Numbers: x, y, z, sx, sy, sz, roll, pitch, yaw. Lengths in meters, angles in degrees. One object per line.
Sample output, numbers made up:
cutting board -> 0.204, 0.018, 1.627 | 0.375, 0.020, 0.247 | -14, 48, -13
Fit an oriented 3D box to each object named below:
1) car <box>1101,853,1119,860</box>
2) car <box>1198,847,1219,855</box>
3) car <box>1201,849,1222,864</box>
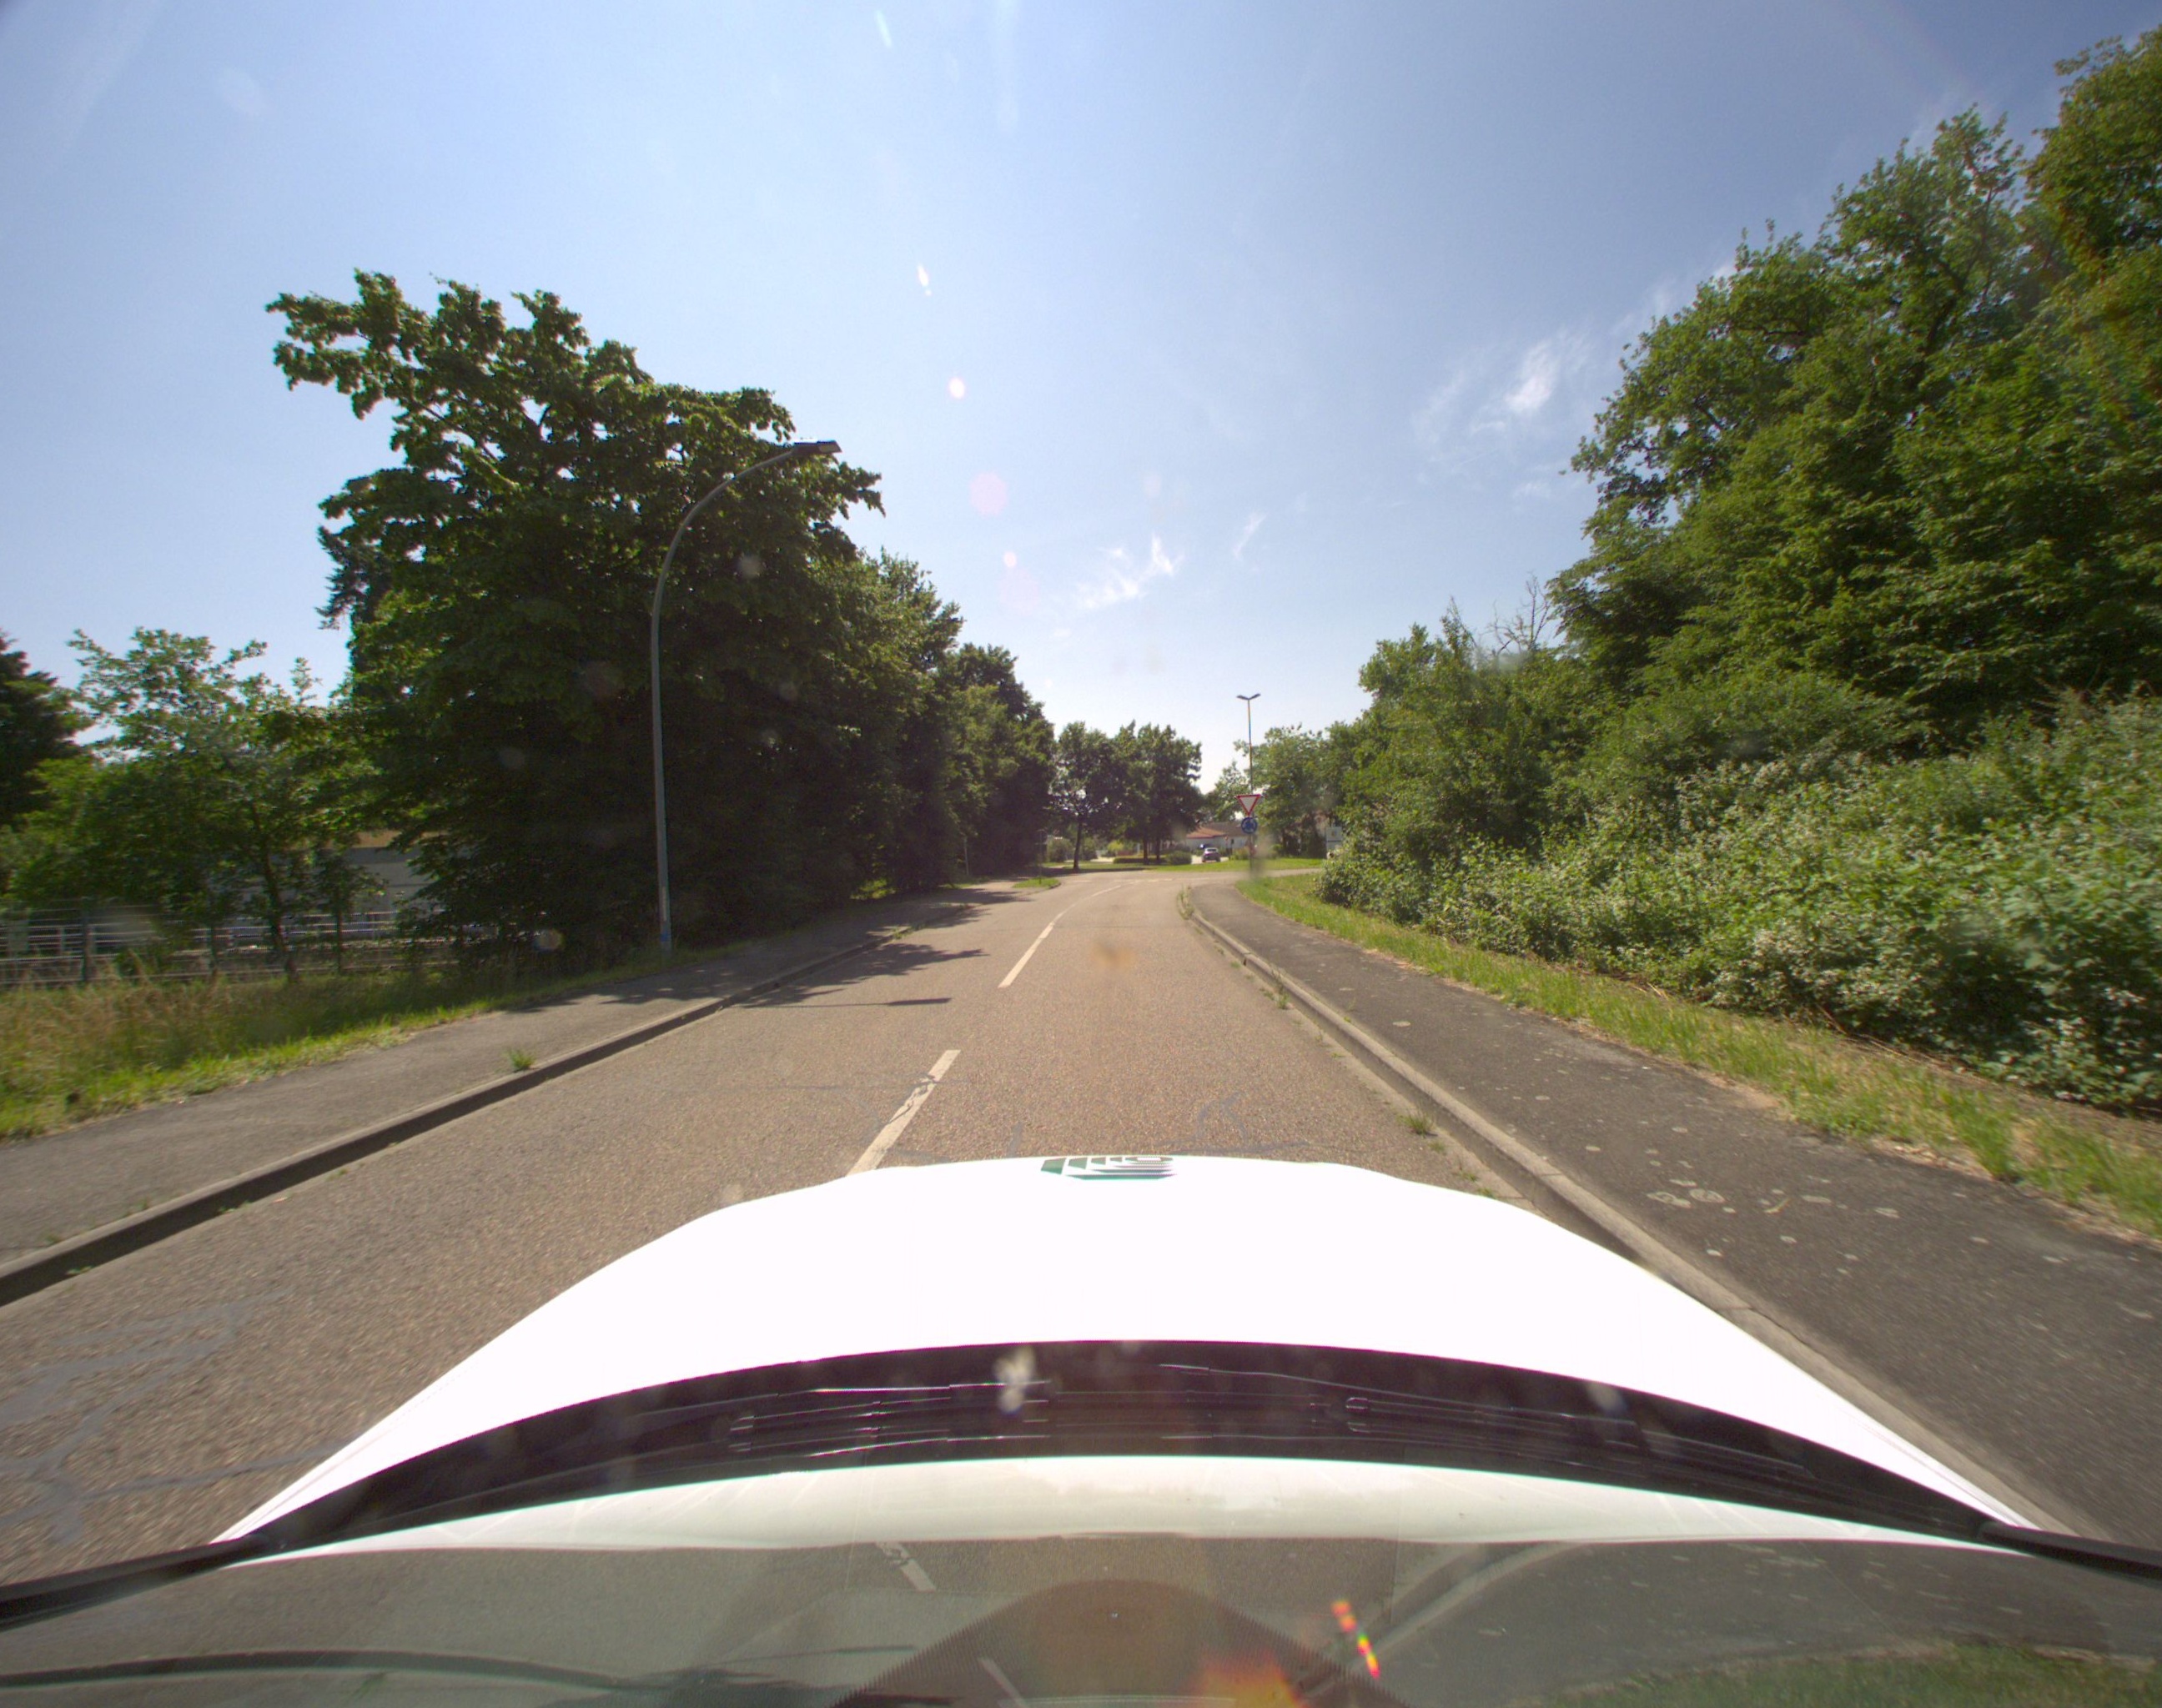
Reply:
car -> 5.933, 0.509, 165.400 | 2.005, 1.288, 3.964 | -2, 0, -27
car -> 24.660, -0.565, 157.534 | 3.857, 1.542, 1.832 | -2, 0, -41
car -> 13.249, 0.246, 82.689 | 1.621, 1.486, 4.003 | -3, 0, 3
